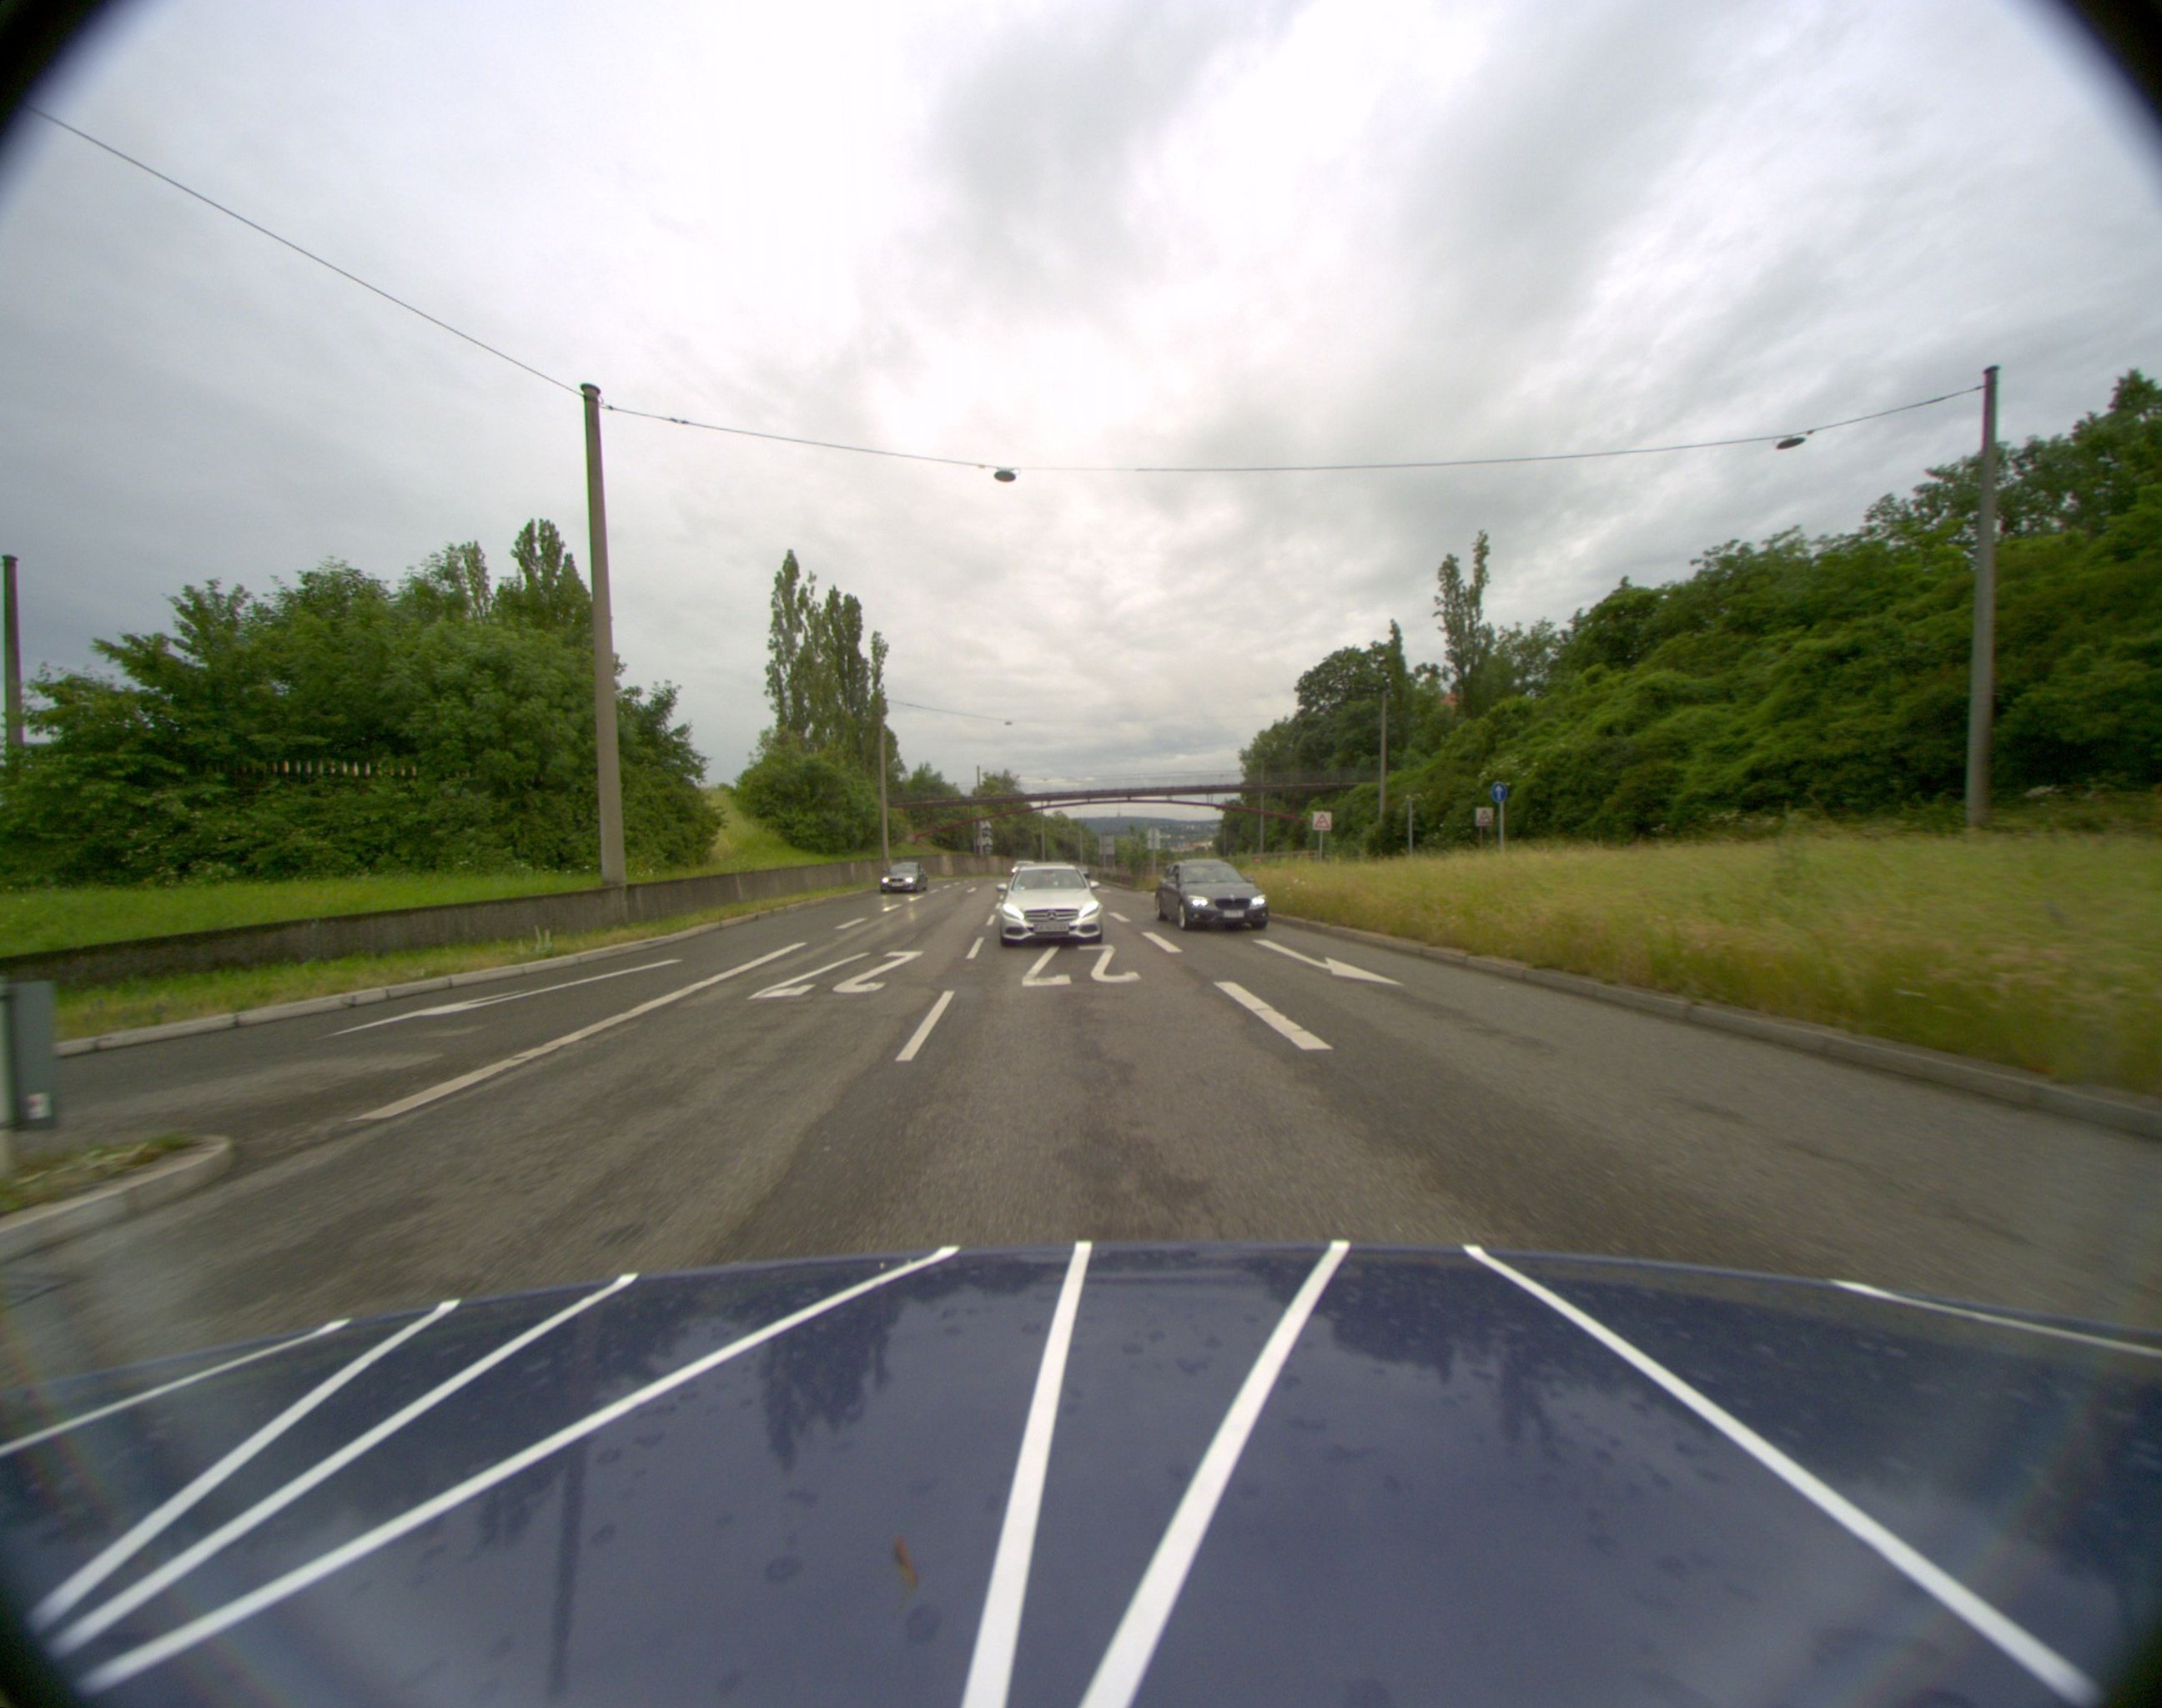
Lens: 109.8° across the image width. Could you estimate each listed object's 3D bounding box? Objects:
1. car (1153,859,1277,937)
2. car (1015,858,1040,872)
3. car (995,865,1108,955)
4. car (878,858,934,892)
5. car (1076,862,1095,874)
[{"bbox_3d":[2.807,0.869,16.740,1.730,1.462,3.886,-1,0,-5],"label":"car"},{"bbox_3d":[-5.994,1.175,85.368,1.808,1.501,4.004,-1,0,11],"label":"car"},{"bbox_3d":[-0.591,0.974,14.999,1.862,1.395,4.314,-2,0,-3],"label":"car"},{"bbox_3d":[-8.359,0.962,36.610,1.810,1.501,4.000,-1,0,-2],"label":"car"},{"bbox_3d":[0.595,1.708,93.579,1.809,1.501,4.002,-1,0,7],"label":"car"}]
